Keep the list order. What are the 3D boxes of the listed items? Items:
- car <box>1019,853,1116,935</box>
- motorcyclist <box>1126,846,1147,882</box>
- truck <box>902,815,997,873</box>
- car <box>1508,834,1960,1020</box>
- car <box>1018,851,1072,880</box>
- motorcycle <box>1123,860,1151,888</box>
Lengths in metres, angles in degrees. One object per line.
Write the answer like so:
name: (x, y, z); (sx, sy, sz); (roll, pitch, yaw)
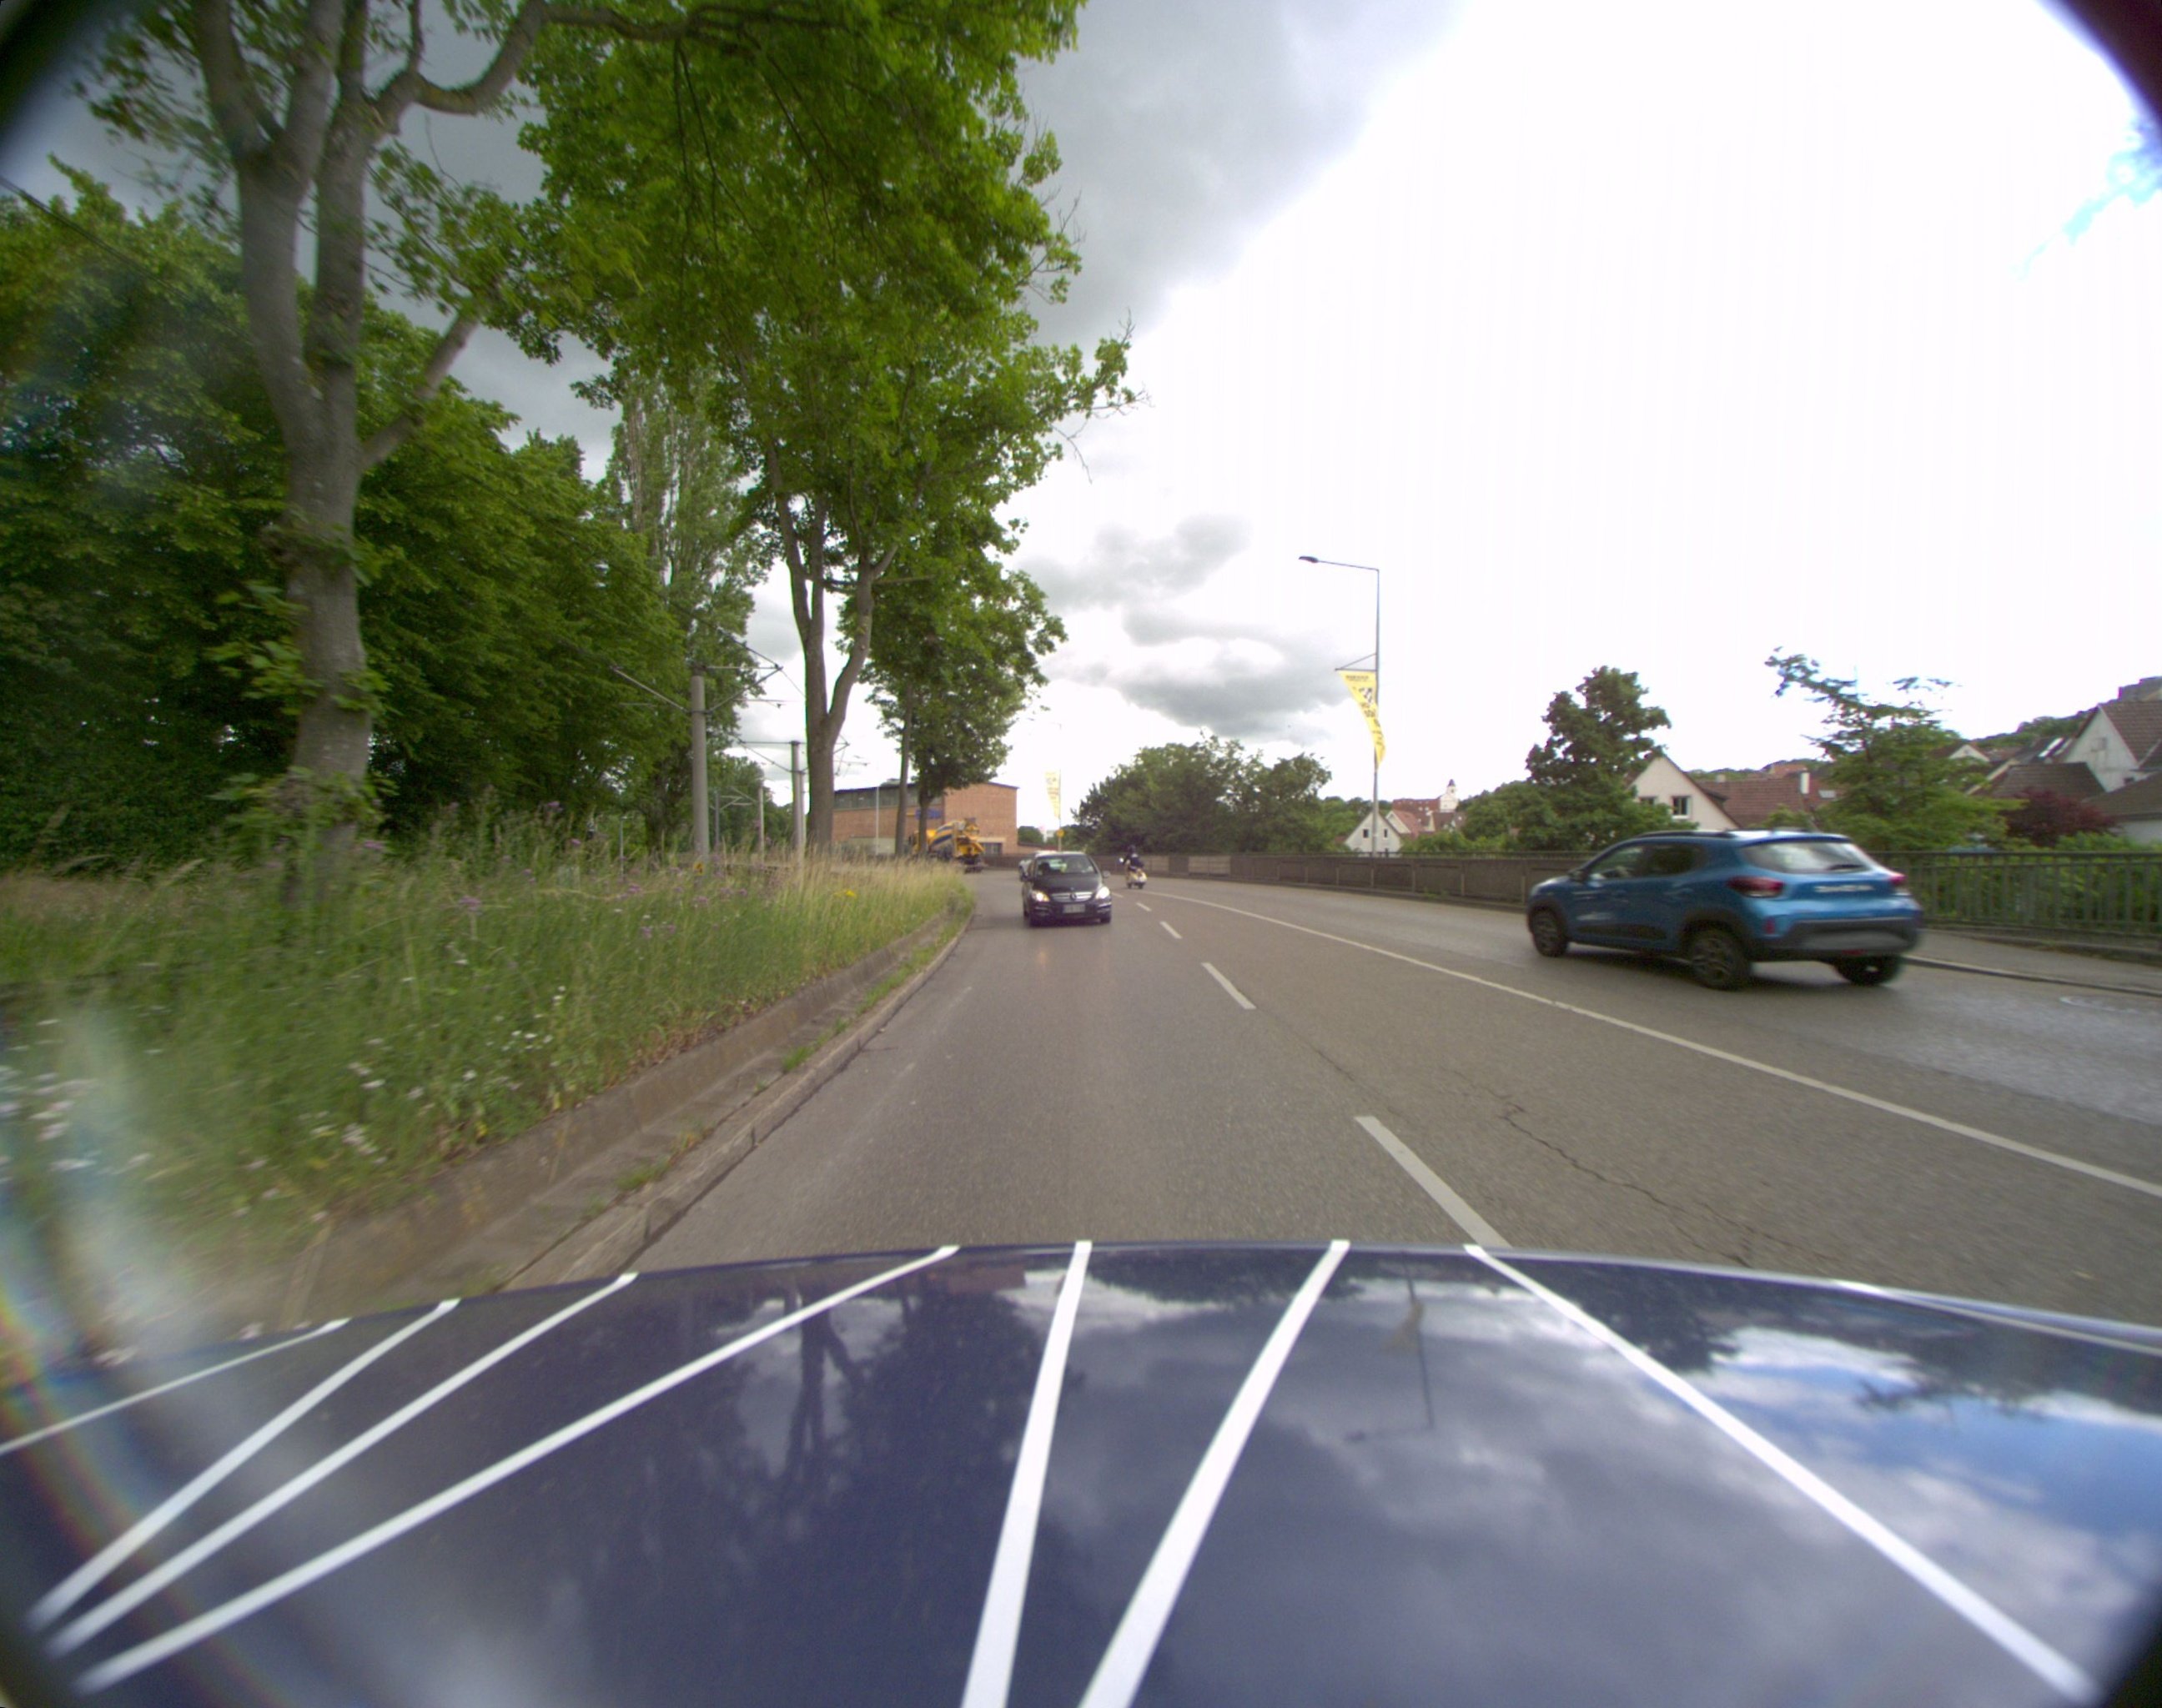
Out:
car: (-0.427, 0.801, 17.420); (1.752, 1.556, 4.072); (-2, 1, -7)
motorcyclist: (2.138, 0.388, 29.369); (0.621, 1.348, 0.839); (-1, 1, -10)
truck: (-10.179, -0.680, 57.655); (2.681, 3.916, 10.112); (-4, 2, -36)
car: (6.496, 0.599, 8.184); (1.585, 1.477, 3.695); (-3, 1, -2)
car: (-2.120, 0.642, 43.674); (1.754, 1.478, 3.647); (-3, 1, -25)
motorcycle: (2.153, 0.762, 29.510); (0.685, 1.055, 1.718); (-1, 1, -10)
